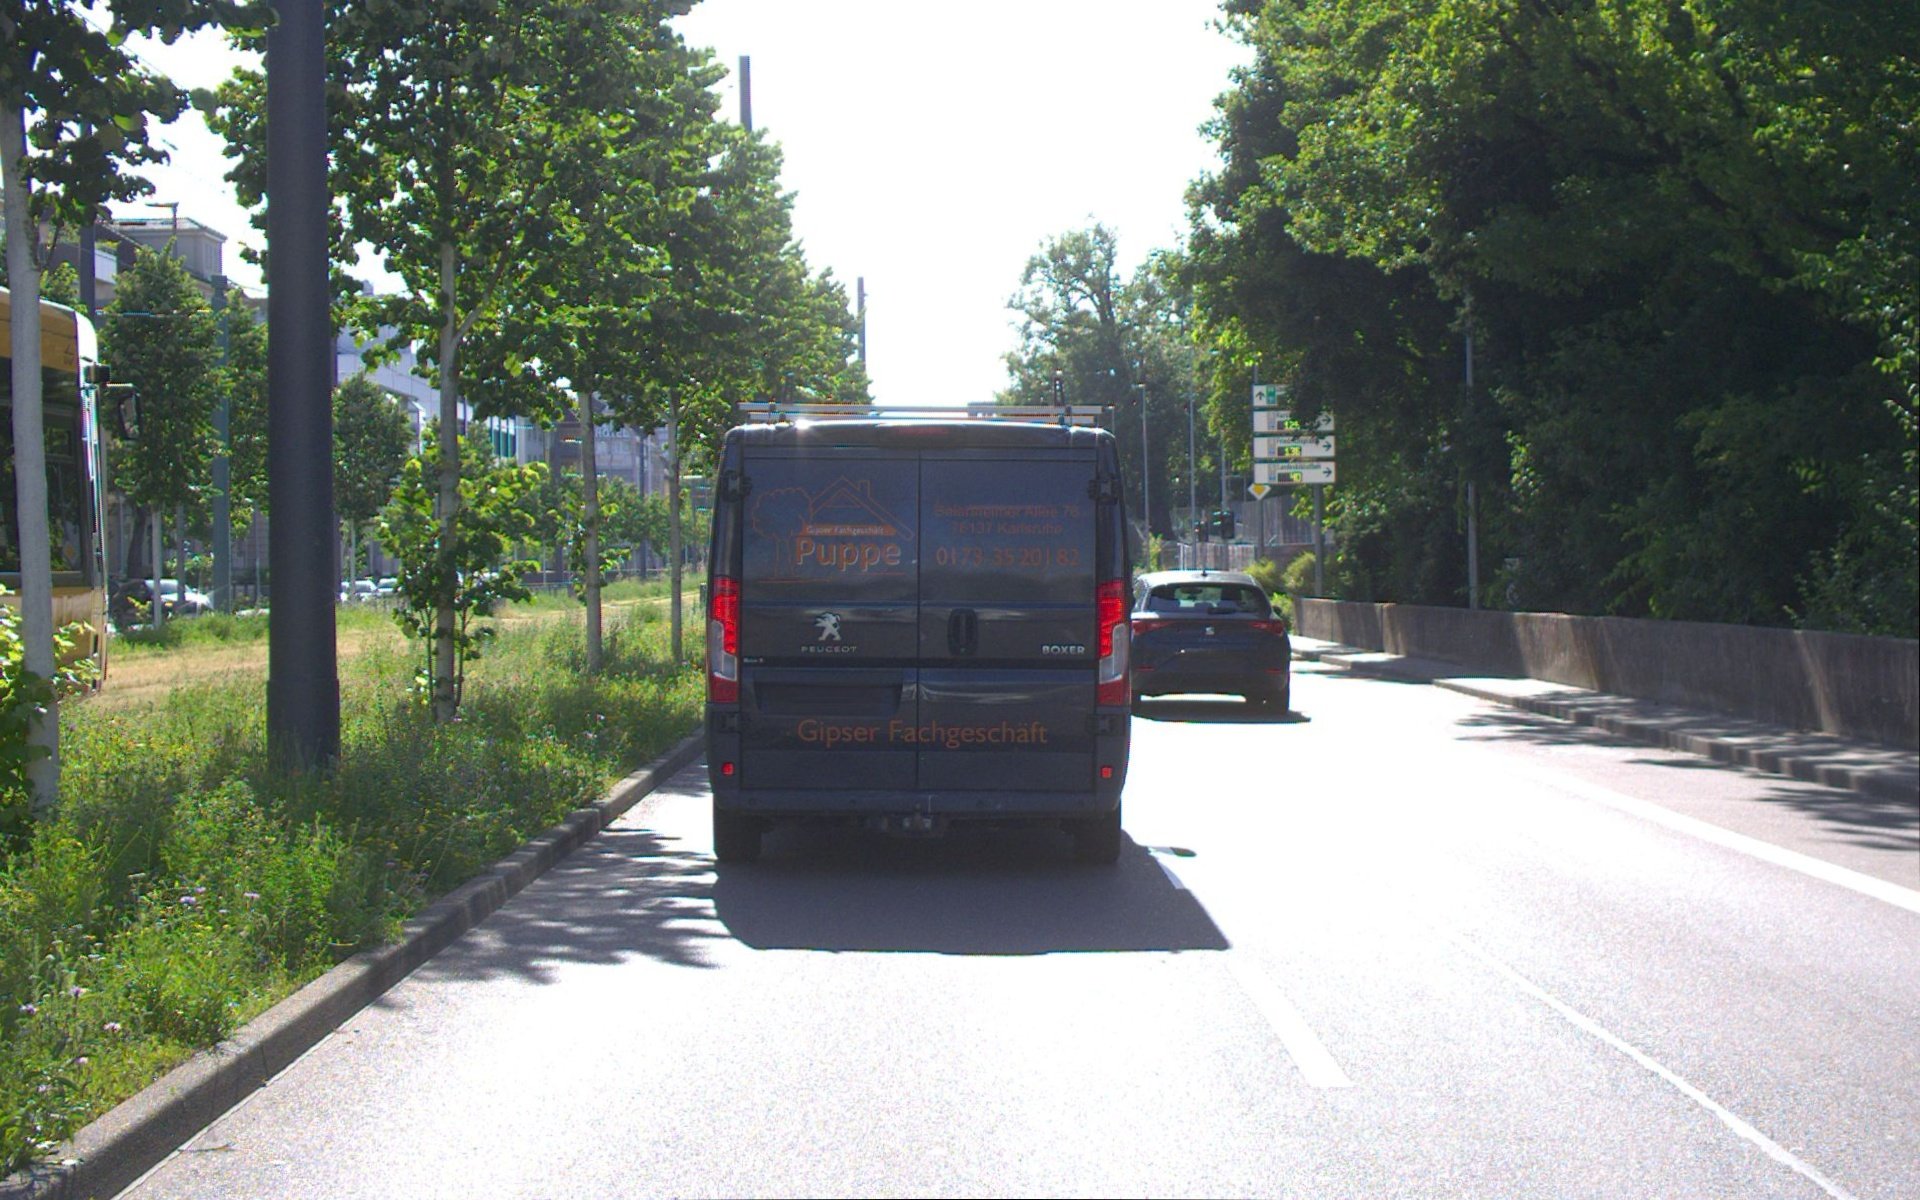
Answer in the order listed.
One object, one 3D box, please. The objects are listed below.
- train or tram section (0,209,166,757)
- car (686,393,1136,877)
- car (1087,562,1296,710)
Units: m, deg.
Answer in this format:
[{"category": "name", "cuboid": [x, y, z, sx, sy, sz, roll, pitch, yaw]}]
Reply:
[{"category": "train or tram section", "cuboid": [-7.410, -0.777, 21.798, 1.993, 3.657, 11.684, 0, 1, 0]}, {"category": "car", "cuboid": [-0.258, 0.147, 18.007, 2.082, 2.241, 4.000, 0, 0, -1]}, {"category": "car", "cuboid": [2.379, 0.338, 36.174, 1.763, 1.457, 4.000, 0, 1, -2]}]
